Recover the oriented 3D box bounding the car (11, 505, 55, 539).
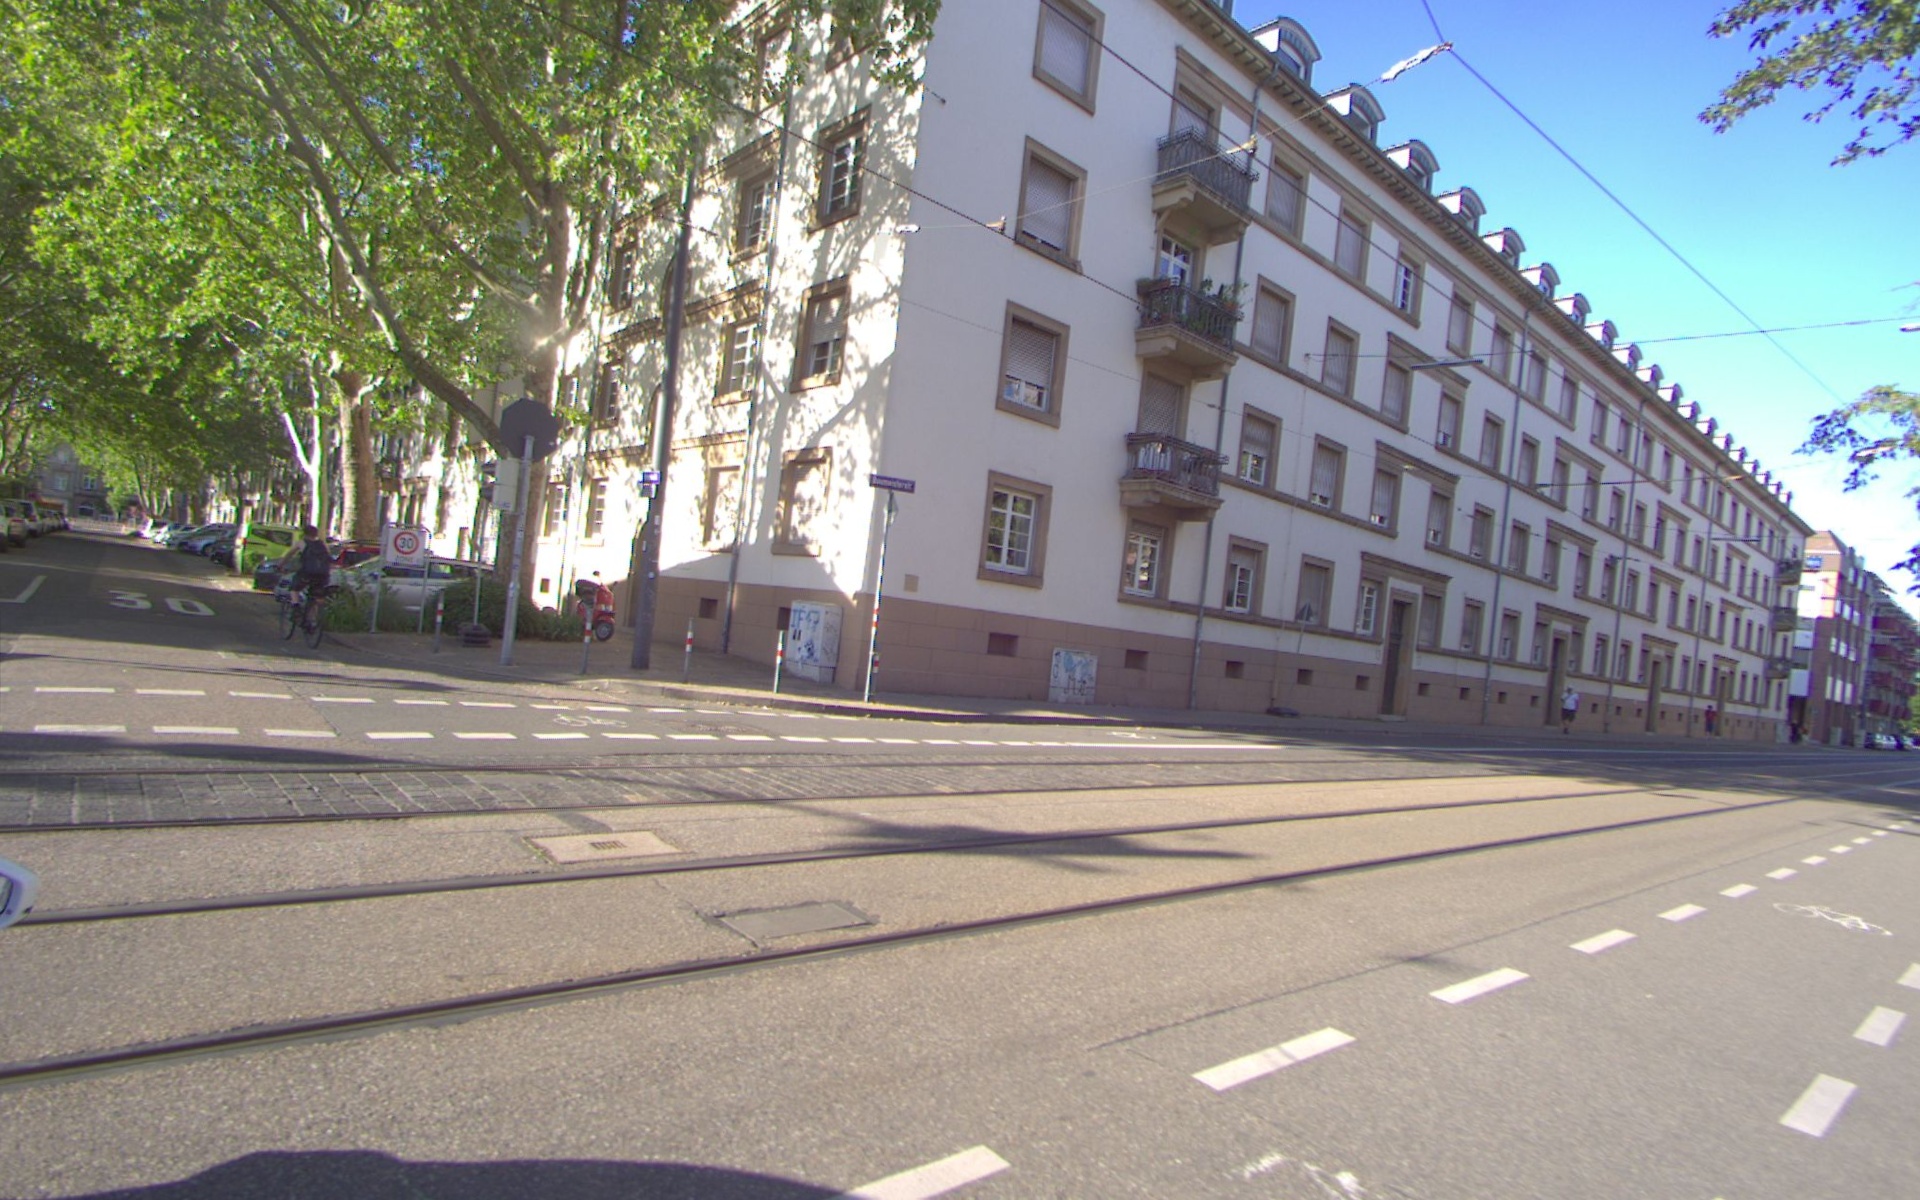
[{"bbox_3d":[-52.381,-4.418,56.841,1.660,1.581,4.229,7,-1,-43],"label":"car"}]

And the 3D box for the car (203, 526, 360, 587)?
[{"bbox_3d":[-24.692,-1.575,36.712,4.447,1.589,1.708,8,-1,-43],"label":"car"}]

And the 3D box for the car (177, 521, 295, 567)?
[{"bbox_3d":[-35.297,-2.718,49.110,4.447,1.589,1.708,8,-1,-43],"label":"car"}]

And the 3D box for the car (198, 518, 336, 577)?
[{"bbox_3d":[-29.000,-2.176,42.191,4.448,1.858,1.707,8,-1,-43],"label":"car"}]

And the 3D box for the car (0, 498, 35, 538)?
[{"bbox_3d":[-43.204,-3.756,45.685,1.660,1.581,4.561,7,-1,-43],"label":"car"}]

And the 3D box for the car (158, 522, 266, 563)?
[{"bbox_3d":[-40.293,-3.079,54.239,4.447,1.589,1.708,8,-1,-43],"label":"car"}]

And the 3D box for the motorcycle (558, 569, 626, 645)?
[{"bbox_3d":[-7.405,0.124,20.225,0.512,1.349,1.742,7,0,-43],"label":"motorcycle"}]

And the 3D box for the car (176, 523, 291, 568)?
[{"bbox_3d":[-36.809,-2.752,51.045,4.447,1.589,1.708,8,-1,-43],"label":"car"}]

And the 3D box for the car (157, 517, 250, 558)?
[{"bbox_3d":[-47.931,-3.969,63.814,4.447,1.920,1.708,8,-1,-43],"label":"car"}]

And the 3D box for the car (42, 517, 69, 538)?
[{"bbox_3d":[-82.185,-6.617,91.368,1.660,1.581,4.168,7,-1,-43],"label":"car"}]

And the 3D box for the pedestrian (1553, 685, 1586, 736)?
[{"bbox_3d":[23.496,4.264,38.795,0.692,1.860,0.729,7,0,-43],"label":"pedestrian"}]

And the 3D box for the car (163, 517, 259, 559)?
[{"bbox_3d":[-46.013,-3.778,61.867,4.447,1.920,1.708,8,-1,-43],"label":"car"}]

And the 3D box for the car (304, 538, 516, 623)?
[{"bbox_3d":[-14.159,-0.467,26.076,4.447,1.589,1.708,8,-1,-43],"label":"car"}]

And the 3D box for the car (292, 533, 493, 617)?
[{"bbox_3d":[-15.505,-0.657,27.628,4.447,1.691,1.708,8,-1,-43],"label":"car"}]

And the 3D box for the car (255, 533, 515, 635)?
[{"bbox_3d":[-12.162,-0.302,21.470,4.447,1.589,1.708,8,-1,-43],"label":"car"}]

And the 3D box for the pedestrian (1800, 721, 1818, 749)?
[{"bbox_3d":[60.000,9.549,71.114,0.692,1.860,0.729,7,0,-43],"label":"pedestrian"}]

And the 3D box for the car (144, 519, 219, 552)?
[{"bbox_3d":[-61.029,-5.017,78.918,4.447,1.920,1.708,8,-1,-43],"label":"car"}]

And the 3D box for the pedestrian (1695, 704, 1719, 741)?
[{"bbox_3d":[40.641,6.673,54.737,0.692,1.860,0.729,7,0,-43],"label":"pedestrian"}]

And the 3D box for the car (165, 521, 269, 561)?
[{"bbox_3d":[-41.498,-3.268,56.224,4.447,1.589,1.708,8,-1,-43],"label":"car"}]

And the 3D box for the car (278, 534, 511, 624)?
[{"bbox_3d":[-13.243,-0.457,23.750,4.447,1.518,1.708,8,-1,-43],"label":"car"}]

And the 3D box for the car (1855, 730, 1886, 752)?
[{"bbox_3d":[85.981,13.347,94.977,1.866,1.703,4.369,5,-3,45],"label":"car"}]

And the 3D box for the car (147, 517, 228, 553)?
[{"bbox_3d":[-56.256,-4.706,73.339,4.447,1.920,1.708,8,-1,-43],"label":"car"}]

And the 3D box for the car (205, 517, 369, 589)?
[{"bbox_3d":[-23.443,-1.609,35.145,4.448,1.858,1.707,8,-1,-43],"label":"car"}]

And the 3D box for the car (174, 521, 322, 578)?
[{"bbox_3d":[-27.689,-1.942,39.237,4.447,1.589,1.708,8,-1,-43],"label":"car"}]

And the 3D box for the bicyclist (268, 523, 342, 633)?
[{"bbox_3d":[-9.741,-0.330,14.967,0.674,1.530,0.661,9,-1,-41],"label":"bicyclist"}]

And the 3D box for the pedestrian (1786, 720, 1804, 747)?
[{"bbox_3d":[59.491,9.522,71.696,0.692,1.860,0.729,7,0,-43],"label":"pedestrian"}]

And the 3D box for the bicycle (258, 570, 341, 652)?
[{"bbox_3d":[-9.947,0.149,15.120,0.687,1.028,1.886,9,-2,-41],"label":"bicycle"}]

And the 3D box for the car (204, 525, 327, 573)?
[{"bbox_3d":[-32.597,-2.374,47.294,4.447,1.589,1.708,8,-1,-43],"label":"car"}]

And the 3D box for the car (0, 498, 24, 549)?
[{"bbox_3d":[-32.301,-2.645,33.367,1.660,1.581,4.464,7,-1,-43],"label":"car"}]

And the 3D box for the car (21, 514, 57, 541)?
[{"bbox_3d":[-63.310,-5.011,69.148,1.660,1.581,4.168,7,-1,-43],"label":"car"}]

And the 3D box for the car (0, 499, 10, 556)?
[{"bbox_3d":[-28.808,-2.244,29.173,1.660,1.581,3.952,7,-1,-43],"label":"car"}]

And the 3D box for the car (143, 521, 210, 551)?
[{"bbox_3d":[-68.677,-5.622,88.206,4.447,1.920,1.708,8,-1,-43],"label":"car"}]
